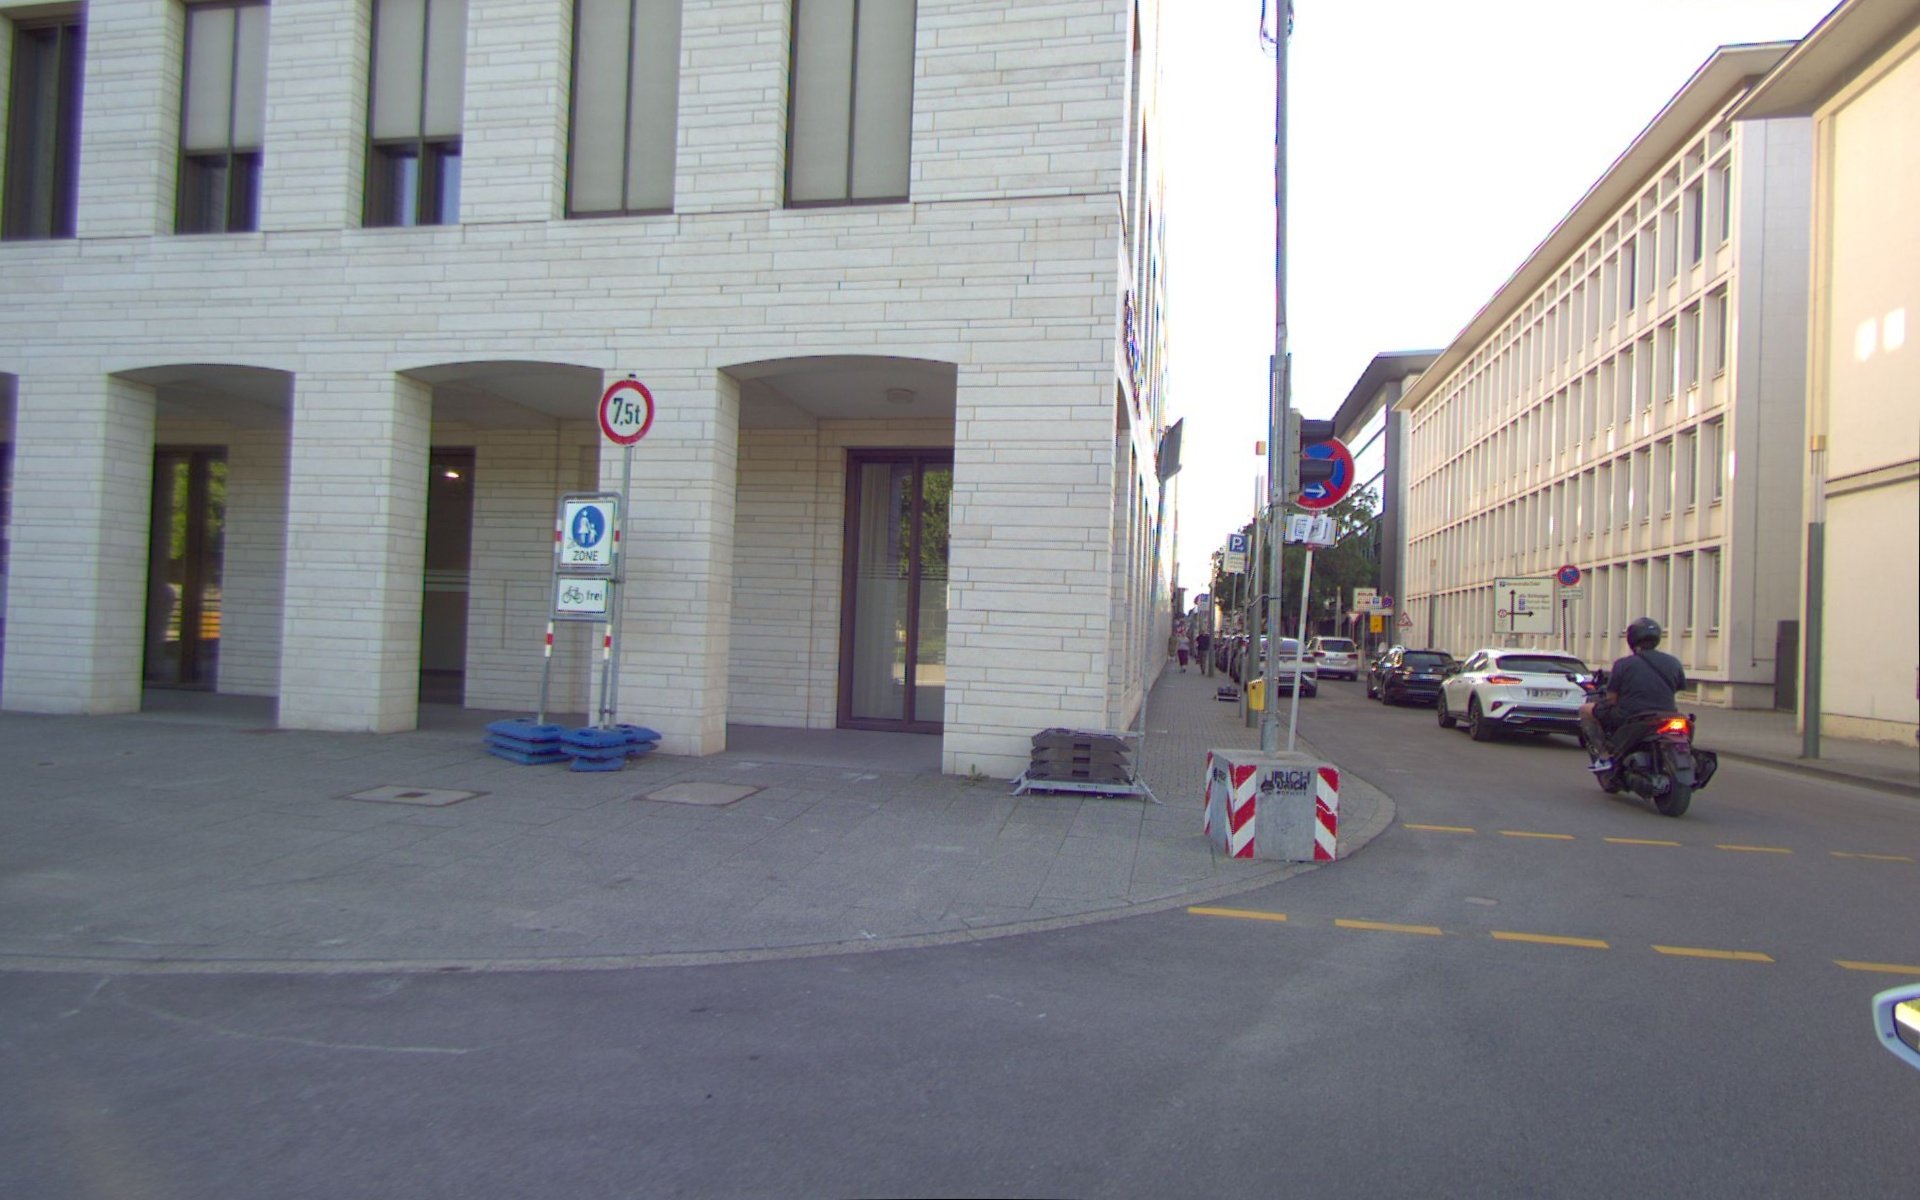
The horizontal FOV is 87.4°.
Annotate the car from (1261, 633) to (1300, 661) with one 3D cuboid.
[{"bbox_3d":[19.516,2.879,61.373,1.866,1.617,4.003,1,-2,12],"label":"car"}]

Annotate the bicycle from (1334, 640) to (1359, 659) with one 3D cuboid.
[{"bbox_3d":[27.199,3.460,70.647,1.542,1.266,0.550,0,-2,34],"label":"bicycle"}]

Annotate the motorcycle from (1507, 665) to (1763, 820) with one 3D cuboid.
[{"bbox_3d":[6.309,1.265,9.638,0.890,1.199,2.580,1,-2,5],"label":"motorcycle"}]

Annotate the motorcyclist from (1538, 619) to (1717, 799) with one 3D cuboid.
[{"bbox_3d":[6.302,0.993,9.576,0.938,1.580,1.240,1,-2,5],"label":"motorcyclist"}]

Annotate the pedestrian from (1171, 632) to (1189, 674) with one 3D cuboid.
[{"bbox_3d":[8.750,2.082,39.915,0.692,1.635,0.861,1,-2,13],"label":"pedestrian"}]

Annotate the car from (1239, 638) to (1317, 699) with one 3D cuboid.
[{"bbox_3d":[9.058,1.905,28.893,1.780,1.627,4.271,0,-2,12],"label":"car"}]

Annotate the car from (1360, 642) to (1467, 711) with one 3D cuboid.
[{"bbox_3d":[11.503,1.879,25.733,1.744,1.570,4.109,0,-2,13],"label":"car"}]

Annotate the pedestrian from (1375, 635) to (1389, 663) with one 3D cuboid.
[{"bbox_3d":[24.554,2.862,58.428,0.632,1.622,0.620,1,-2,15],"label":"pedestrian"}]

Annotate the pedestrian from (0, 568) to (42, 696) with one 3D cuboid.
[{"bbox_3d":[-13.250,0.421,13.549,0.861,1.707,0.860,1,-2,10],"label":"pedestrian"}]

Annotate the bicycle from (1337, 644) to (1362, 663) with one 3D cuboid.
[{"bbox_3d":[26.844,3.688,69.289,1.542,1.266,0.550,0,-2,34],"label":"bicycle"}]

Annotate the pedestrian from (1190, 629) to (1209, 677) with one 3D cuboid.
[{"bbox_3d":[9.325,2.058,39.109,0.692,1.810,0.727,1,-2,13],"label":"pedestrian"}]

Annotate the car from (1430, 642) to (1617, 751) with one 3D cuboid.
[{"bbox_3d":[9.252,1.498,16.844,1.828,1.491,4.002,3,-2,16],"label":"car"}]

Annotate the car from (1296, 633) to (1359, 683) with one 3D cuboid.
[{"bbox_3d":[14.986,2.340,41.136,1.892,1.881,4.003,1,-2,13],"label":"car"}]

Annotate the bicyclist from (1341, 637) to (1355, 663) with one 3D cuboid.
[{"bbox_3d":[26.804,3.438,69.359,0.737,1.729,0.735,0,-2,34],"label":"bicyclist"}]
